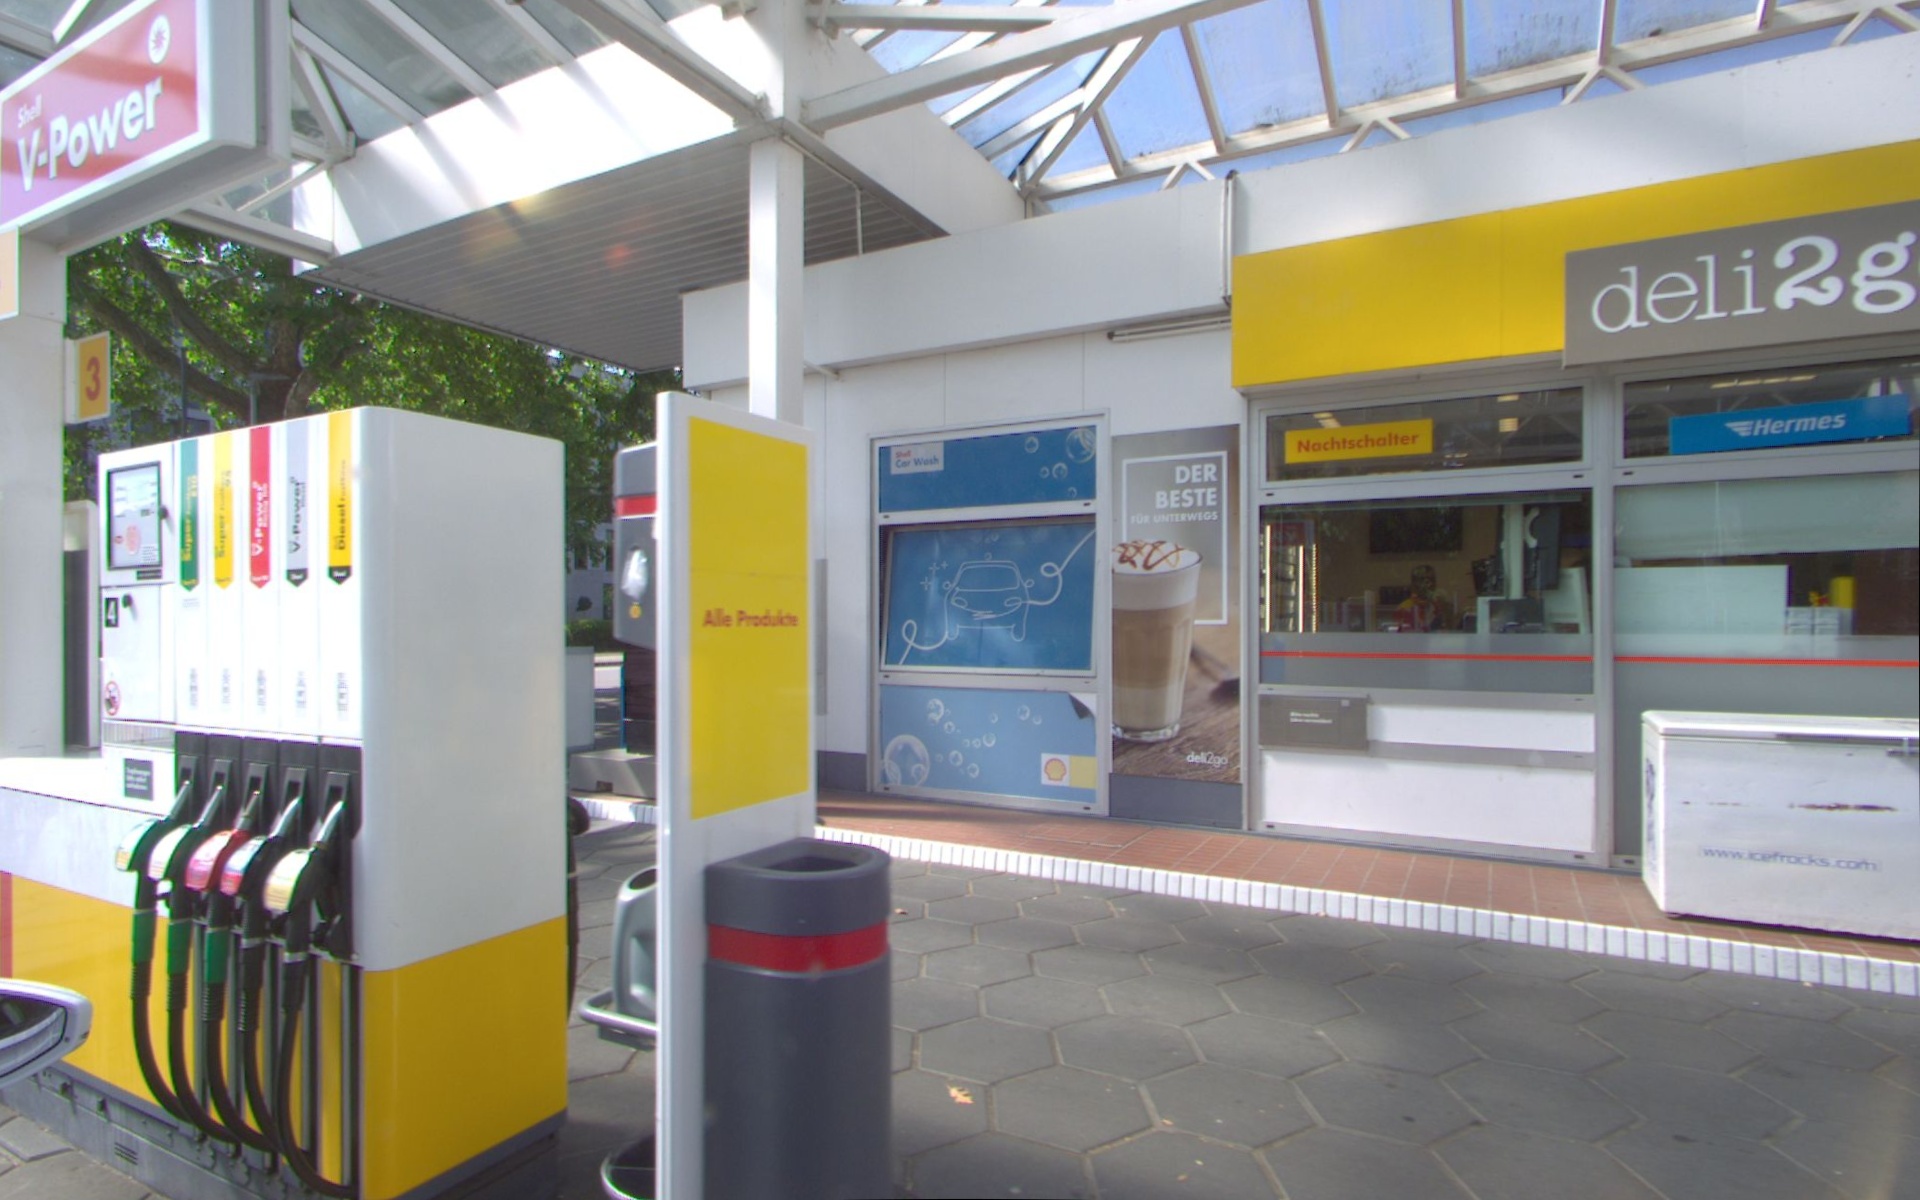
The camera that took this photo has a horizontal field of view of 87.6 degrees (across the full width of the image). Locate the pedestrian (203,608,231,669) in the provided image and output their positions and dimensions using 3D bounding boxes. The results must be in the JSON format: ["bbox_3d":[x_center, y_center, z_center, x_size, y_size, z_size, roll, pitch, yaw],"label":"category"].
[{"bbox_3d":[-21.600,1.109,29.109,0.516,1.758,0.498,0,-1,32],"label":"pedestrian"}]

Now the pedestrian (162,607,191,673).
[{"bbox_3d":[-21.116,1.084,26.997,0.400,1.758,0.498,0,-1,32],"label":"pedestrian"}]

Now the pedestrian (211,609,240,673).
[{"bbox_3d":[-20.532,1.132,27.982,0.516,1.758,0.498,0,-1,32],"label":"pedestrian"}]

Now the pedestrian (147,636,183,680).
[{"bbox_3d":[-21.297,1.541,26.834,0.517,1.152,0.626,0,-1,35],"label":"pedestrian"}]

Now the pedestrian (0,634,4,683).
[{"bbox_3d":[-22.976,1.387,23.626,0.517,1.152,0.497,0,-1,35],"label":"pedestrian"}]
